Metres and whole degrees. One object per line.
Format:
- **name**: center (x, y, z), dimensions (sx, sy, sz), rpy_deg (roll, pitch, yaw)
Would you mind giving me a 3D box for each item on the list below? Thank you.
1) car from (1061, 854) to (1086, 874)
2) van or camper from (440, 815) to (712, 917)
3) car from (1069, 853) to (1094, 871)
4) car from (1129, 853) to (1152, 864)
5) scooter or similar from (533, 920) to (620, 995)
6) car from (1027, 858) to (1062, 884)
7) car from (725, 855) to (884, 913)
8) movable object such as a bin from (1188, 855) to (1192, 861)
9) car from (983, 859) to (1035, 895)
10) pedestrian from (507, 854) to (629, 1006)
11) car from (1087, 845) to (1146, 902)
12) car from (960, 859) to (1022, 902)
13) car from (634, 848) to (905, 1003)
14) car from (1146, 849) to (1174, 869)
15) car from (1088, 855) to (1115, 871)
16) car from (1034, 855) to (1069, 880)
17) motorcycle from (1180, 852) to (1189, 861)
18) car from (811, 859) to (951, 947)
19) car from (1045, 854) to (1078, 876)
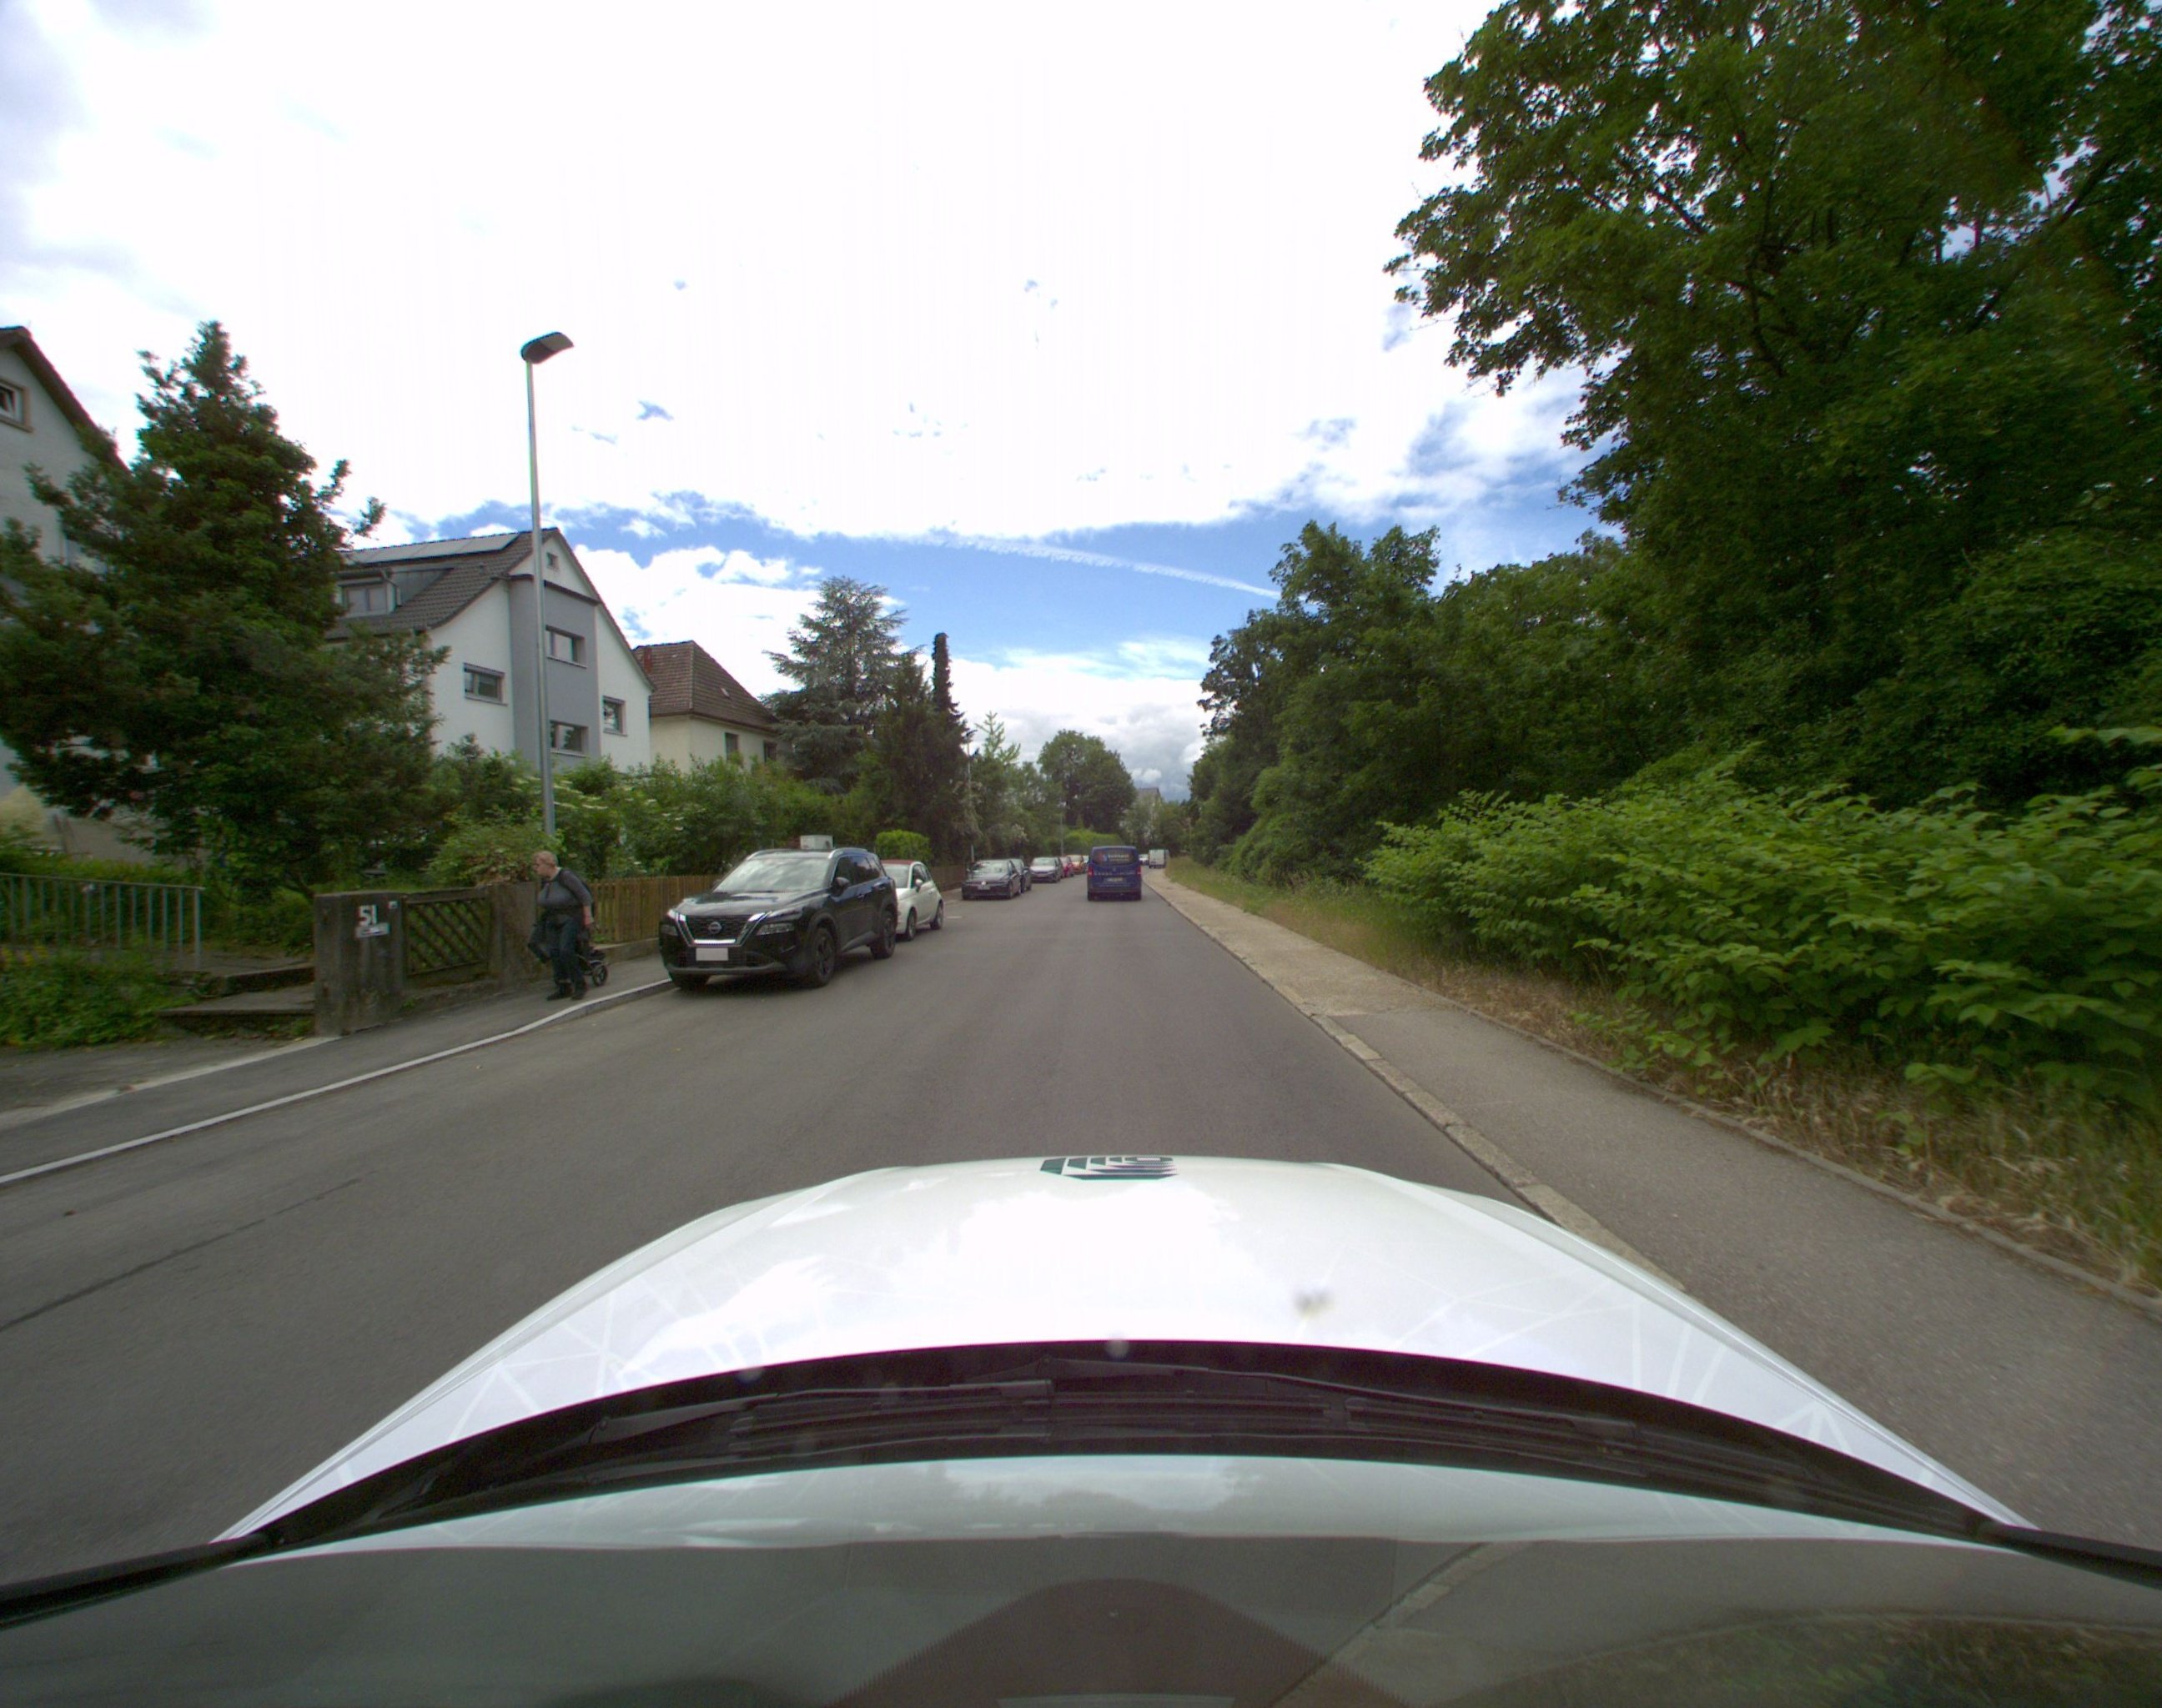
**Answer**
- **car**: center (-0.572, 0.810, 65.538), dimensions (1.535, 1.514, 3.651), rpy_deg (-1, 0, 7)
- **van or camper**: center (-14.129, 0.287, 22.906), dimensions (6.636, 2.651, 2.331), rpy_deg (0, 0, 11)
- **car**: center (0.044, 0.692, 70.148), dimensions (1.579, 1.514, 3.599), rpy_deg (-1, 0, 9)
- **car**: center (7.548, 0.577, 102.847), dimensions (1.817, 1.374, 4.465), rpy_deg (-1, 0, 17)
- **scooter or similar**: center (-5.939, 1.203, 9.616), dimensions (0.569, 0.778, 0.711), rpy_deg (-1, 0, 0)
- **car**: center (-2.086, 0.945, 47.276), dimensions (1.700, 1.410, 4.162), rpy_deg (-1, 0, 2)
- **car**: center (-7.897, 0.803, 23.351), dimensions (3.957, 1.547, 1.849), rpy_deg (0, 0, 16)
- **movable object such as a bin**: center (19.413, 0.719, 144.807), dimensions (0.585, 0.909, 0.705), rpy_deg (-1, -1, 26)
- **car**: center (-3.066, 0.947, 35.380), dimensions (1.700, 1.416, 4.134), rpy_deg (-1, 0, 2)
- **pedestrian**: center (-5.561, 0.791, 8.877), dimensions (0.766, 1.574, 0.821), rpy_deg (-1, 0, 3)
- **car**: center (1.208, 0.652, 29.387), dimensions (1.929, 1.880, 4.531), rpy_deg (-1, 0, 1)
- **car**: center (-3.280, 0.928, 30.310), dimensions (1.700, 1.416, 4.151), rpy_deg (-1, 0, 2)
- **car**: center (-3.904, 0.783, 11.143), dimensions (1.784, 1.664, 4.395), rpy_deg (-1, 0, 3)
- **car**: center (8.554, 0.512, 87.819), dimensions (2.191, 2.064, 6.155), rpy_deg (-2, 0, 12)
- **car**: center (1.972, 0.852, 78.186), dimensions (1.707, 1.385, 4.678), rpy_deg (-1, 0, 12)
- **car**: center (-1.894, 0.832, 53.292), dimensions (1.699, 1.514, 4.501), rpy_deg (-1, 0, 5)
- **motorcycle**: center (18.188, 0.434, 143.015), dimensions (0.802, 1.485, 2.911), rpy_deg (-1, -1, 22)
- **car**: center (-3.879, 0.884, 16.446), dimensions (1.700, 1.511, 3.948), rpy_deg (-1, 0, 2)
- **car**: center (-1.329, 0.757, 57.983), dimensions (1.698, 1.514, 4.372), rpy_deg (-1, 0, 7)
